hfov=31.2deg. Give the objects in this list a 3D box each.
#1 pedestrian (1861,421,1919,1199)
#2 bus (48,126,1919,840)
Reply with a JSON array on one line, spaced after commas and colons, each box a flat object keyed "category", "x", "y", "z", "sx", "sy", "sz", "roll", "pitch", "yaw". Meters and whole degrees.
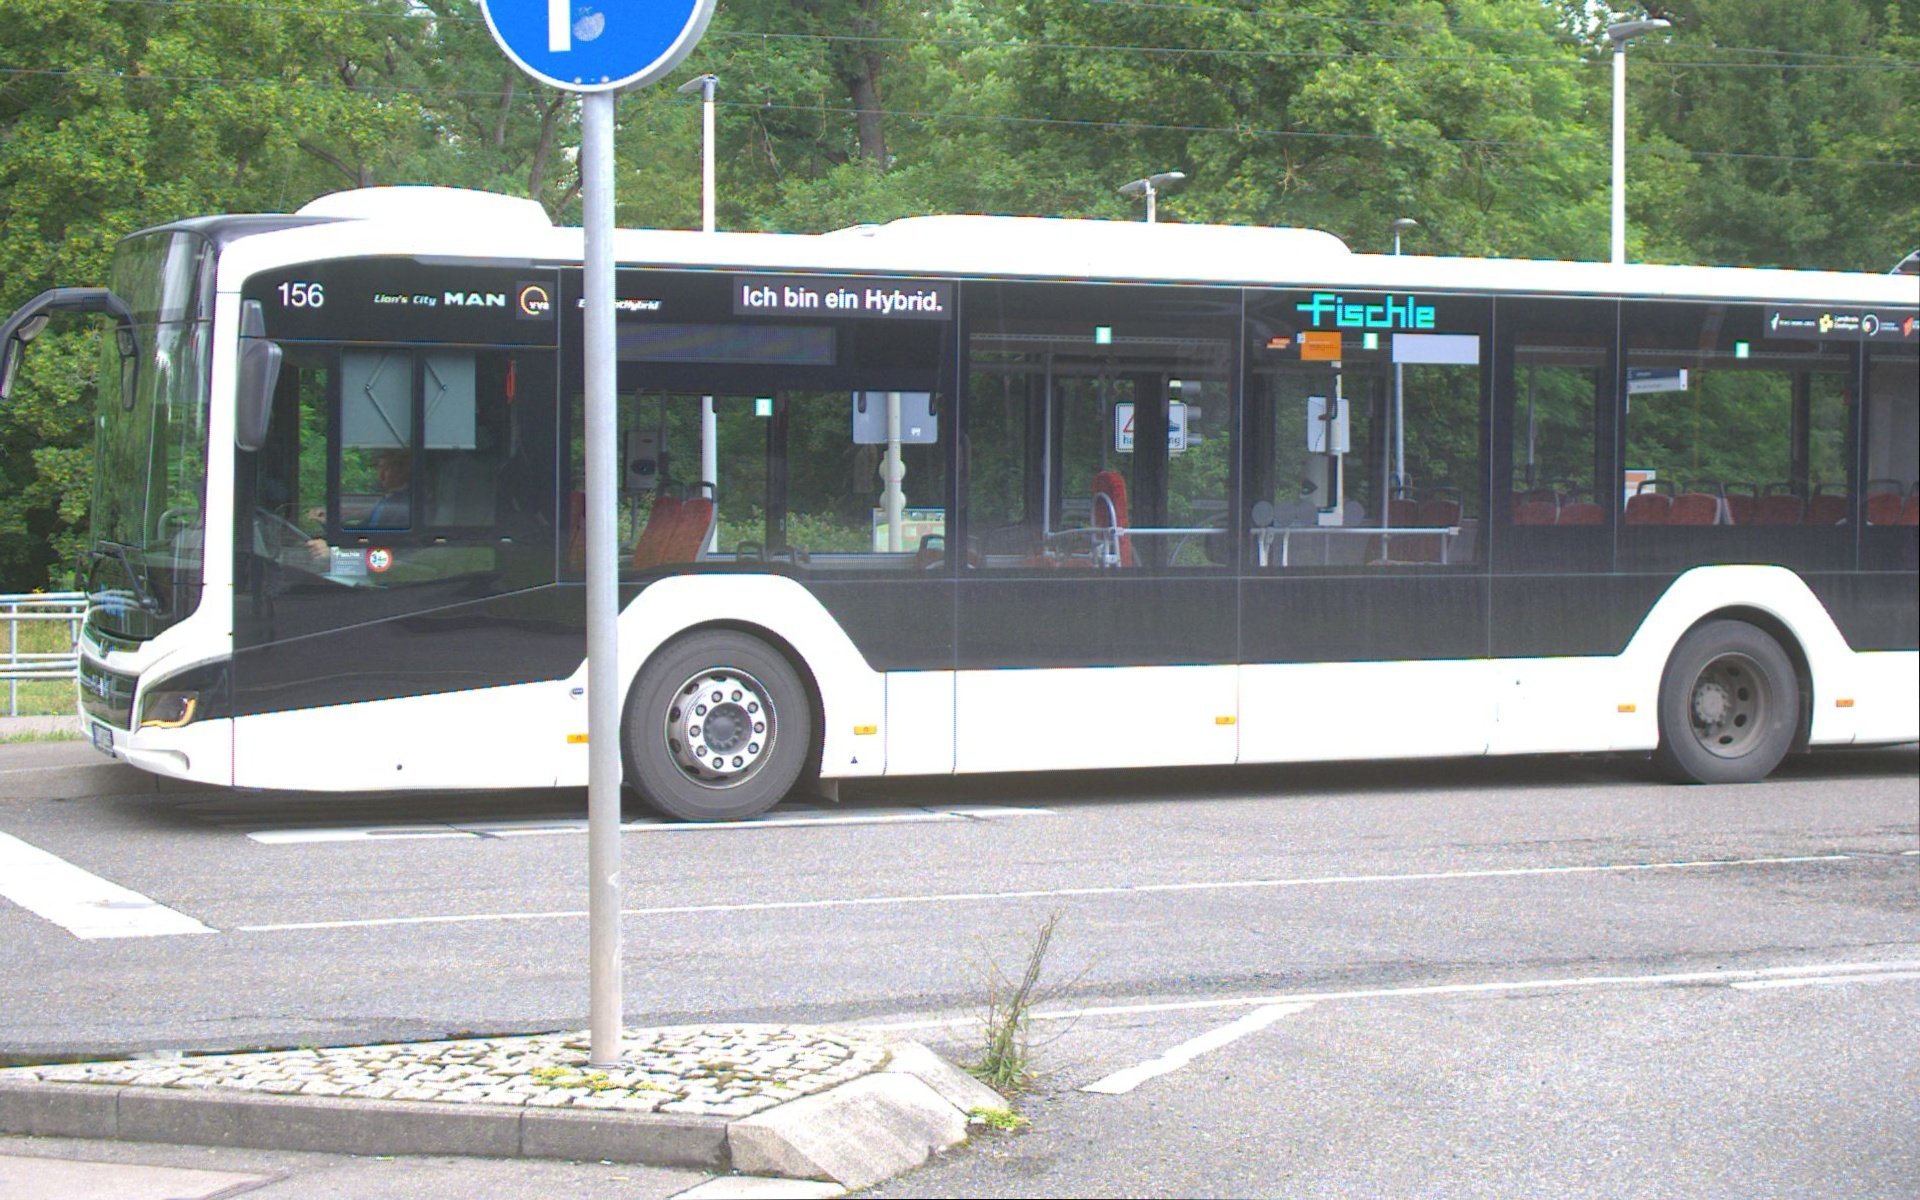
[{"category": "pedestrian", "x": 2.661, "y": 0.478, "z": 7.485, "sx": 0.954, "sy": 1.741, "sz": 1.062, "roll": 0, "pitch": 1, "yaw": -12}, {"category": "bus", "x": 1.370, "y": -0.574, "z": 19.082, "sx": 12.157, "sy": 3.192, "sz": 2.676, "roll": 0, "pitch": 1, "yaw": -24}]
